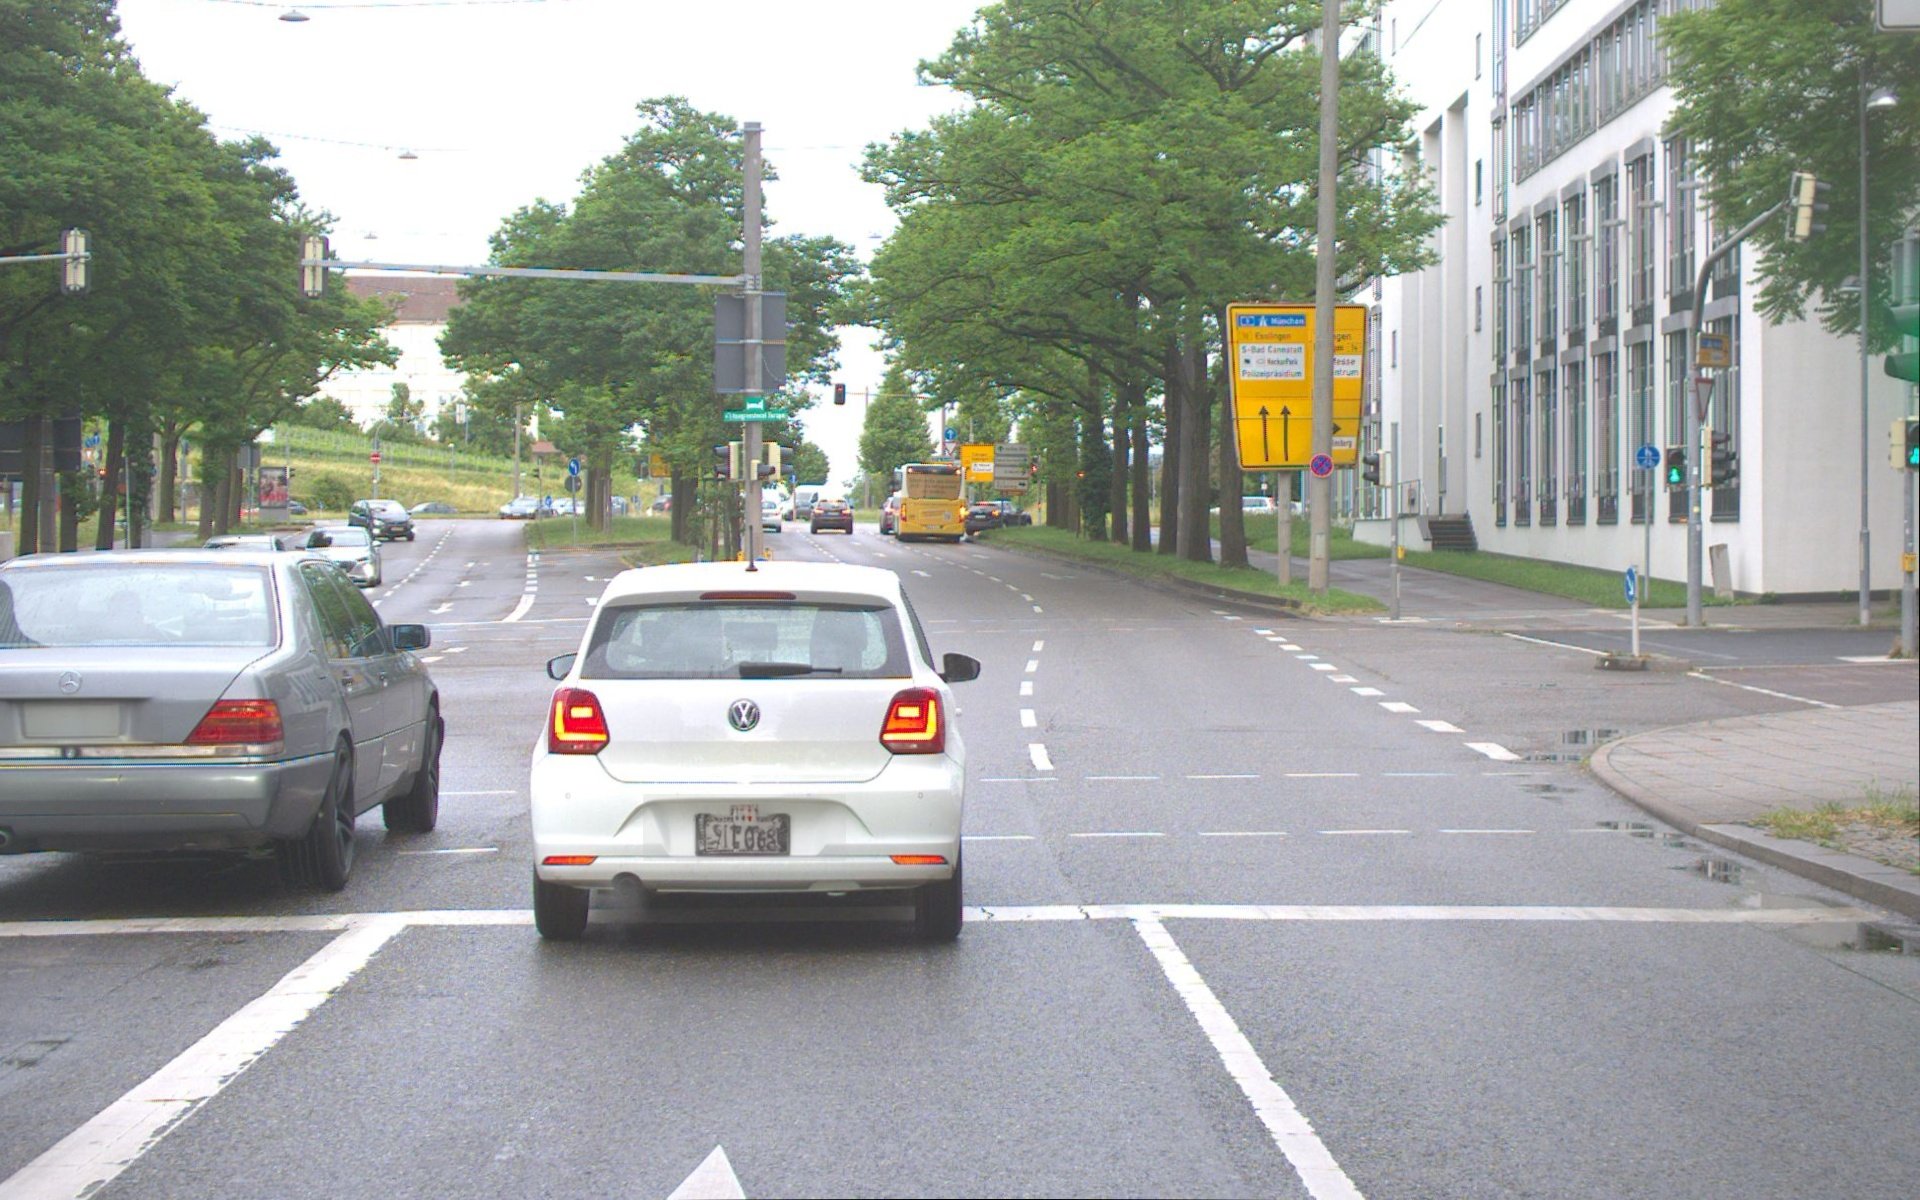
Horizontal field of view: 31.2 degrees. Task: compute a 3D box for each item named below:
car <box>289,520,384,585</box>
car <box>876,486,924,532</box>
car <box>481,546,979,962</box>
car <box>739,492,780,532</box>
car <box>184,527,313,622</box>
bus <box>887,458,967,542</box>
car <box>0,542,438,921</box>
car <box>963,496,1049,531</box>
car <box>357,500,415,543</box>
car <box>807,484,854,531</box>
[{"bbox_3d":[-14.861,-1.161,82.095,1.814,1.406,4.657,-2,2,-5],"label":"car"},{"bbox_3d":[-2.670,-4.044,152.744,1.993,2.007,4.001,0,1,-3],"label":"car"},{"bbox_3d":[-0.891,0.530,14.488,1.794,1.497,4.000,0,1,-2],"label":"car"},{"bbox_3d":[-8.932,-3.892,152.962,1.794,1.735,4.001,-1,1,-4],"label":"car"},{"bbox_3d":[-12.238,-0.471,59.303,1.750,1.515,3.818,-1,2,-6],"label":"car"},{"bbox_3d":[-1.406,-4.067,139.031,2.828,3.255,10.002,0,2,-3],"label":"bus"},{"bbox_3d":[-3.631,0.502,15.853,1.847,1.505,4.048,-1,1,-1],"label":"car"},{"bbox_3d":[2.043,-3.805,151.409,1.699,1.510,3.818,1,1,43],"label":"car"},{"bbox_3d":[-23.099,-3.167,138.462,1.993,1.610,5.122,-2,2,-6],"label":"car"},{"bbox_3d":[-5.725,-4.058,151.552,1.993,2.007,4.001,0,1,-3],"label":"car"}]
